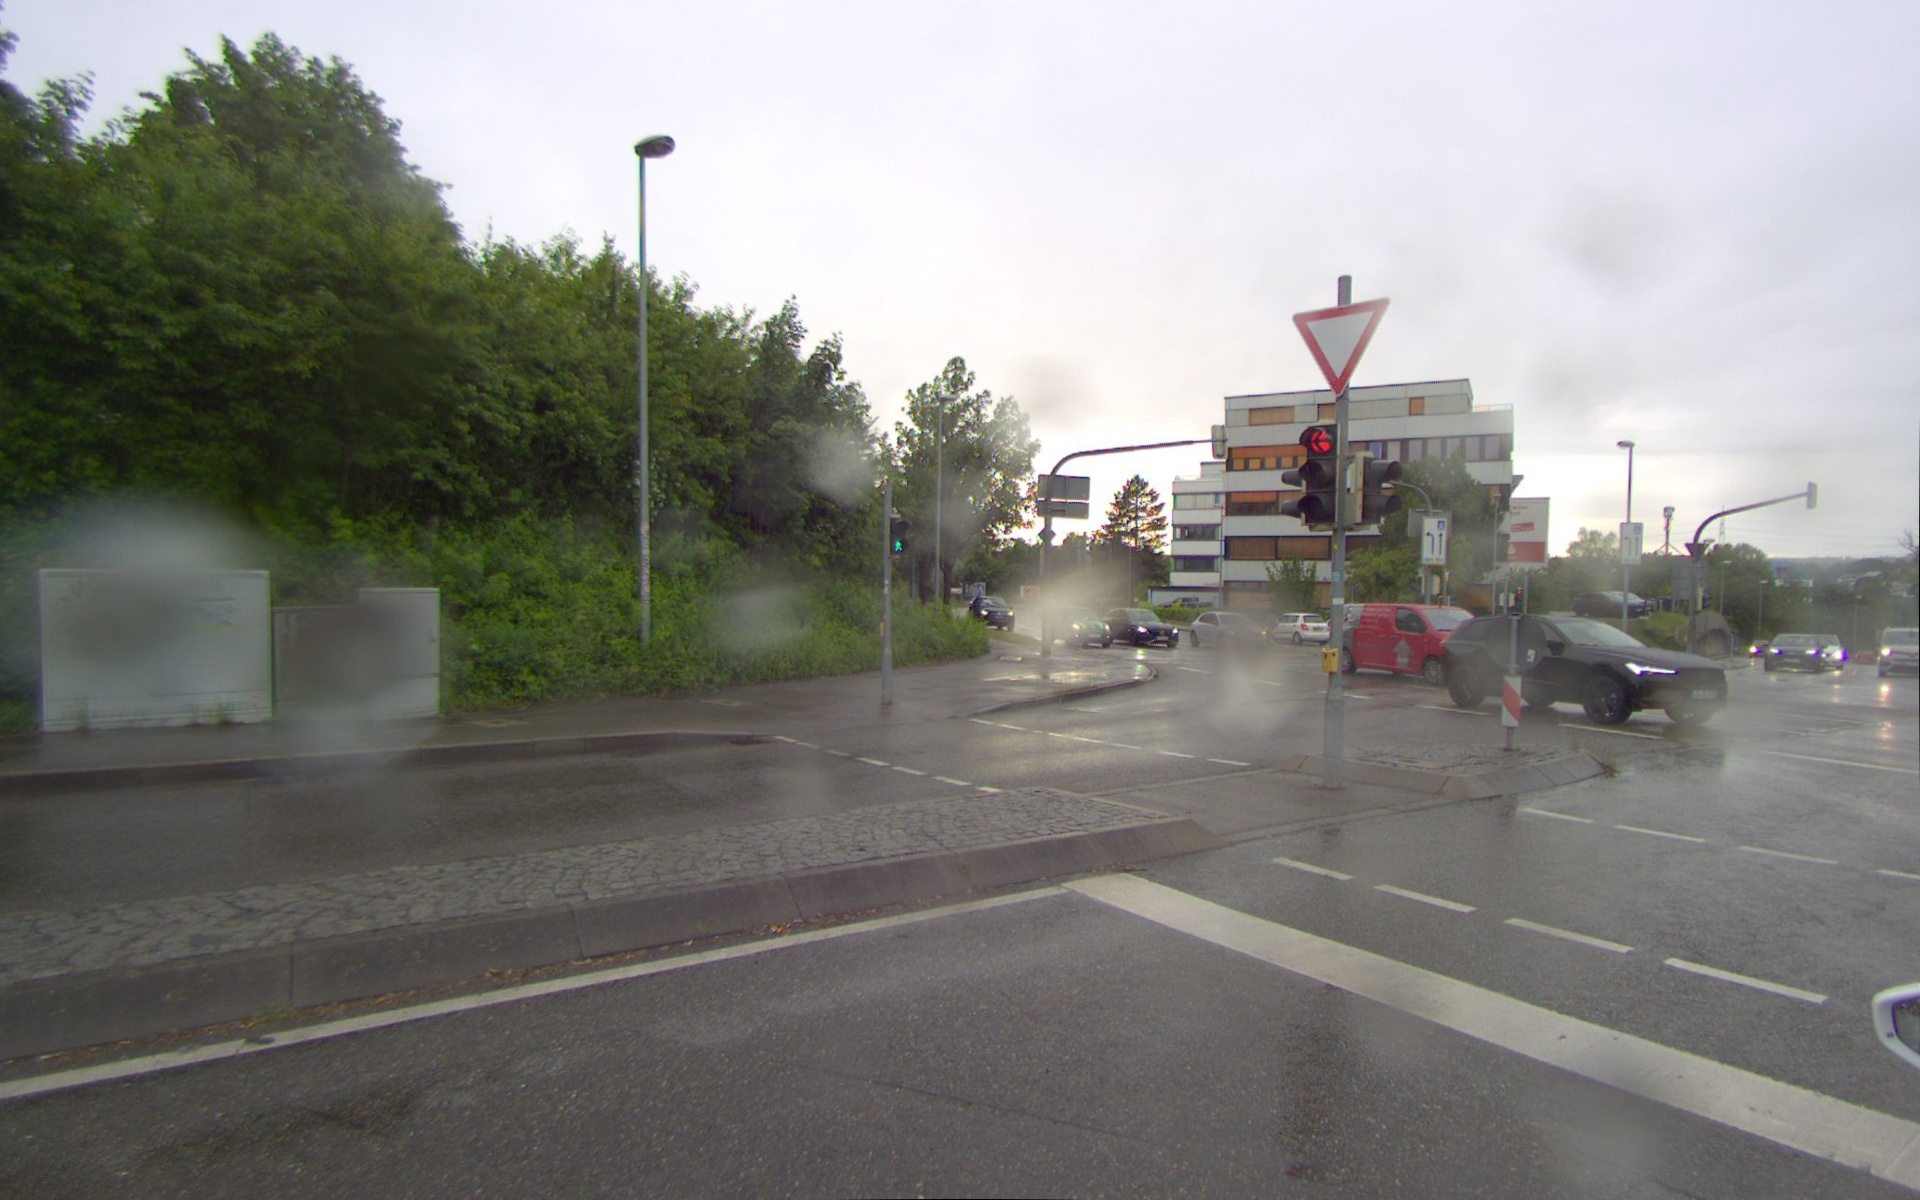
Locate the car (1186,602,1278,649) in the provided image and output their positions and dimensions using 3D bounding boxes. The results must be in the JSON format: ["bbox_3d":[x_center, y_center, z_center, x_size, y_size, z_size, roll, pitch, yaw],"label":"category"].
[{"bbox_3d":[10.696,0.966,39.789,1.964,1.706,3.992,1,1,-10],"label":"car"}]

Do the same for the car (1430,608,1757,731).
[{"bbox_3d":[10.301,1.014,16.859,1.999,1.701,4.621,0,0,-13],"label":"car"}]

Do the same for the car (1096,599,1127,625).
[{"bbox_3d":[11.846,0.927,78.577,1.960,1.873,4.001,1,1,3],"label":"car"}]

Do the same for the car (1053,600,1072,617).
[{"bbox_3d":[13.232,1.076,129.486,1.959,2.041,5.015,1,1,12],"label":"car"}]

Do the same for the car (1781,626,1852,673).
[{"bbox_3d":[38.928,2.188,45.639,3.971,1.920,1.975,1,1,-43],"label":"car"}]

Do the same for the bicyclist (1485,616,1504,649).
[{"bbox_3d":[24.451,1.468,45.923,0.597,1.465,0.539,1,1,-36],"label":"bicyclist"}]

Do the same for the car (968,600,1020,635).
[{"bbox_3d":[1.737,0.894,53.409,1.963,1.725,4.604,1,1,-8],"label":"car"}]

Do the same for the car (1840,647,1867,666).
[{"bbox_3d":[87.332,5.512,98.208,1.595,1.468,3.791,3,3,38],"label":"car"}]

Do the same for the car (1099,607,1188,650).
[{"bbox_3d":[7.307,1.111,40.588,1.965,1.496,4.664,1,1,-11],"label":"car"}]

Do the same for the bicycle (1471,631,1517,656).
[{"bbox_3d":[24.426,1.981,45.938,0.604,1.066,1.762,1,1,-35],"label":"bicycle"}]

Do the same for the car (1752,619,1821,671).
[{"bbox_3d":[33.499,1.764,40.684,1.971,1.920,3.978,2,1,42],"label":"car"}]

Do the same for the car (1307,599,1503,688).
[{"bbox_3d":[11.186,1.020,25.693,1.967,2.040,4.771,1,0,-16],"label":"car"}]

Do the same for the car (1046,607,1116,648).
[{"bbox_3d":[4.578,1.031,38.431,1.651,1.405,3.453,1,1,-11],"label":"car"}]

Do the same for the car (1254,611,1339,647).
[{"bbox_3d":[16.567,1.413,49.663,1.927,1.617,3.982,1,1,-19],"label":"car"}]

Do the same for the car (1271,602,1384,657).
[{"bbox_3d":[13.639,1.062,37.518,1.966,1.865,4.143,1,1,-14],"label":"car"}]

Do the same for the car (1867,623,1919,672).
[{"bbox_3d":[34.904,1.731,36.998,3.974,1.639,1.973,1,1,-45],"label":"car"}]
